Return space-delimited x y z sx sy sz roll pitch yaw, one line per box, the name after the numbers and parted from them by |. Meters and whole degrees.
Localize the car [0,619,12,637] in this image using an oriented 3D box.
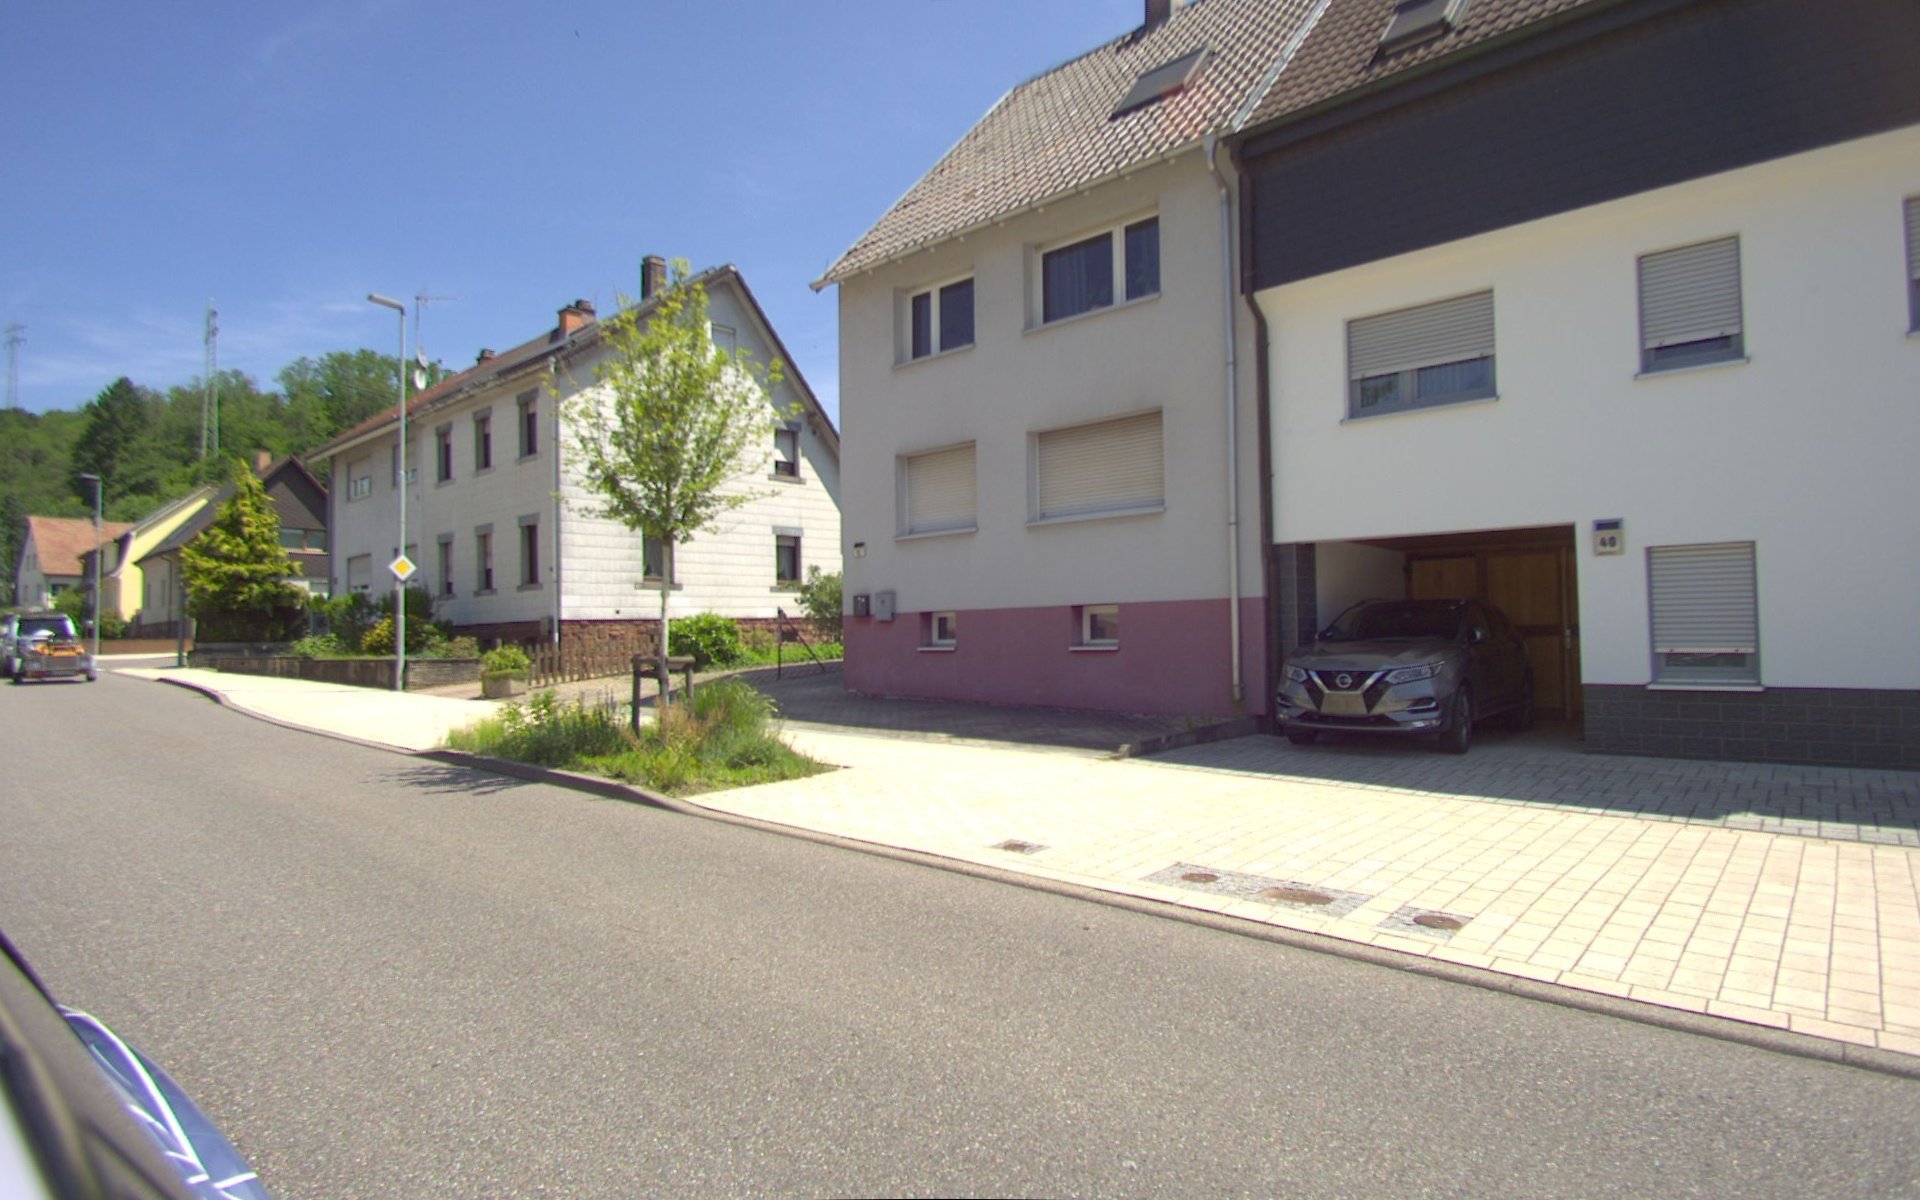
-98.359 2.858 101.863 1.796 1.803 3.976 -1 -1 18 | car

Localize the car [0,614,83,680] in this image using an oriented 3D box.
-28.679 1.423 31.319 4.578 1.875 1.868 -2 -2 43 | car

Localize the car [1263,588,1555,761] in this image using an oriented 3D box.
5.100 0.697 11.212 1.832 1.557 3.945 -2 -1 41 | car

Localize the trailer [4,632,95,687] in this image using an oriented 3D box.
-25.700 1.619 28.515 4.403 1.406 1.557 -2 -2 44 | trailer
